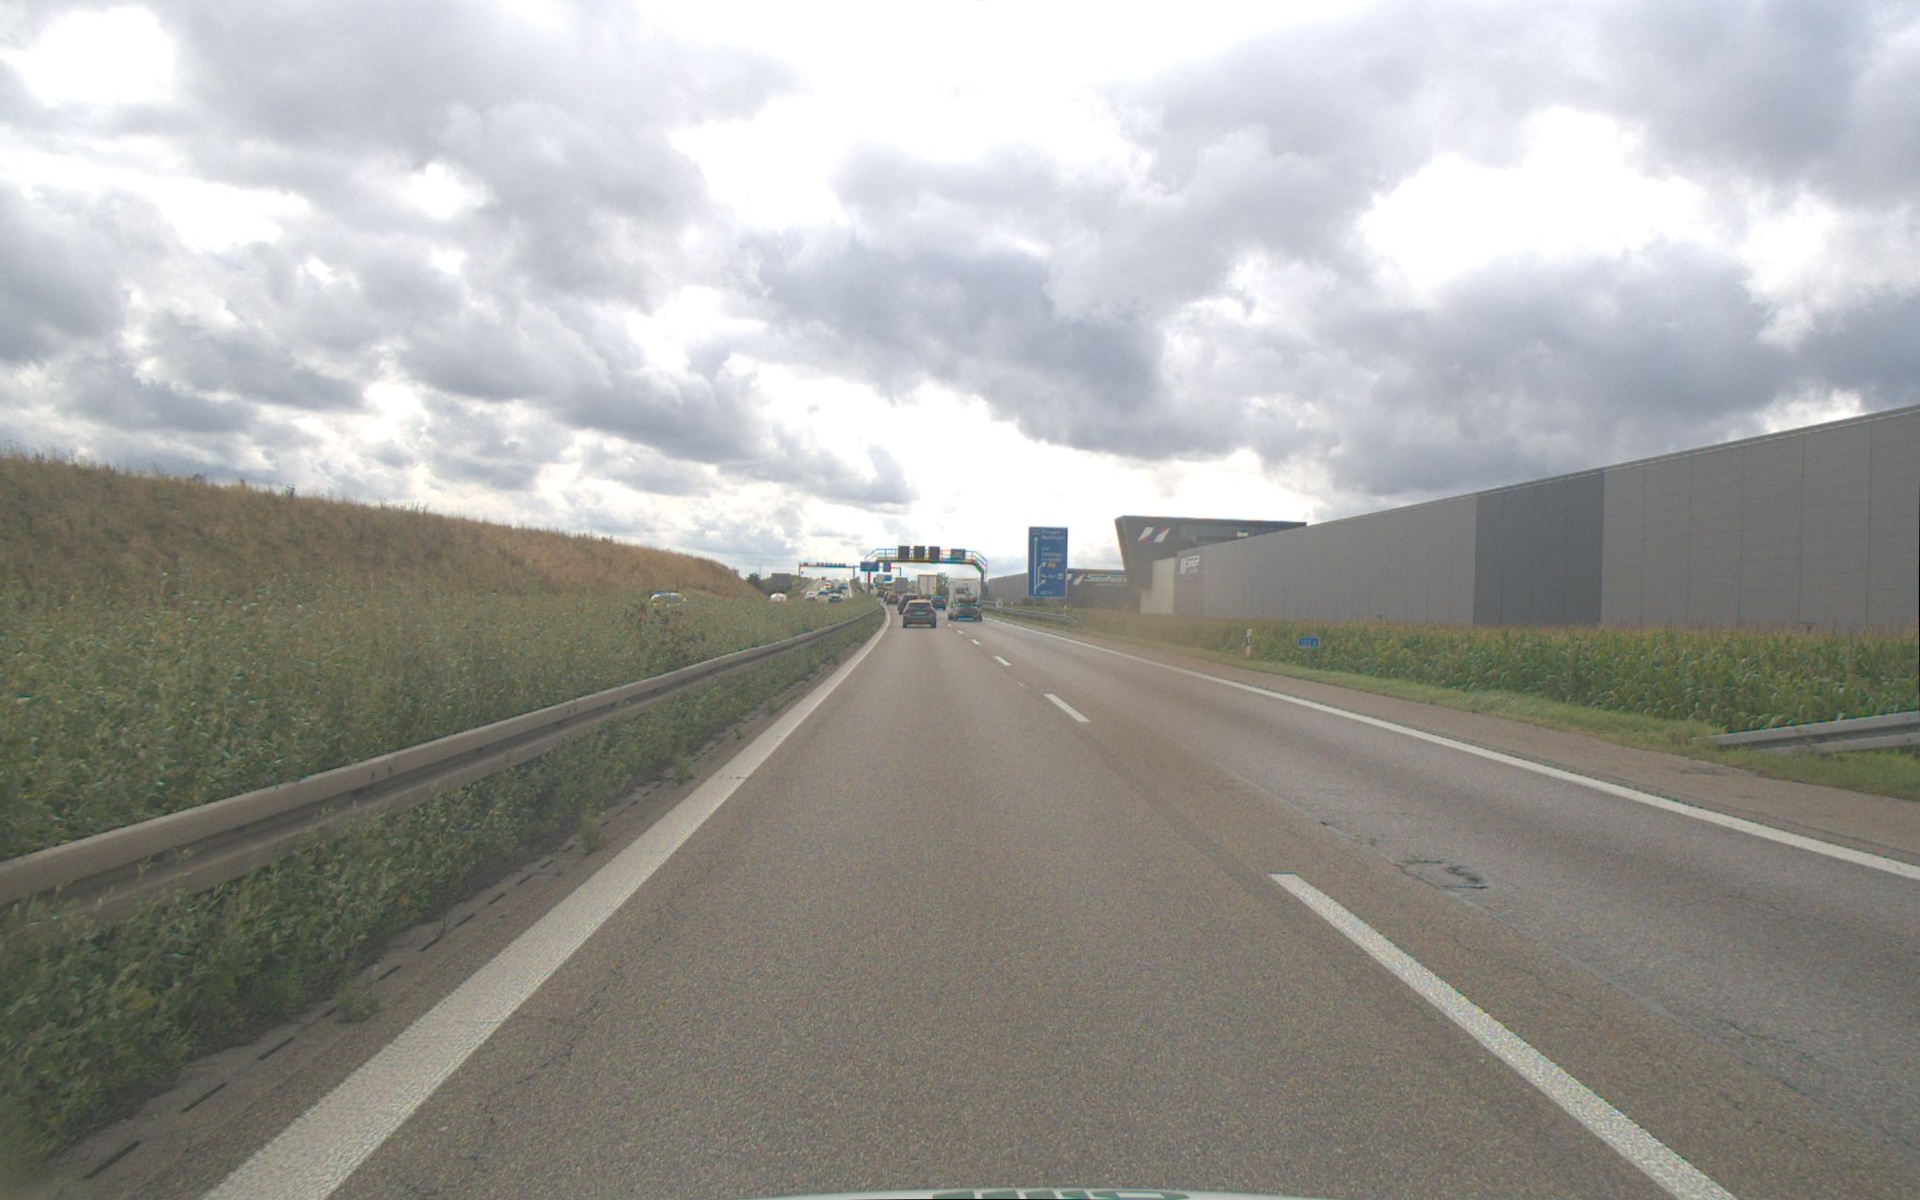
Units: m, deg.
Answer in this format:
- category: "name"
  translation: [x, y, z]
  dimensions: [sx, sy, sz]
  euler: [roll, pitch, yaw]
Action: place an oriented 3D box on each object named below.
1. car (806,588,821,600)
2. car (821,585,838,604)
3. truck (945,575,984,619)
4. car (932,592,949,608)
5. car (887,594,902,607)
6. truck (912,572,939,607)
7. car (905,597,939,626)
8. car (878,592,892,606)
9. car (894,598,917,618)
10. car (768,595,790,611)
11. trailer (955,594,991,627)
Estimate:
- category: "car"
  translation: [-19.660, -0.804, 222.236]
  dimensions: [1.736, 1.479, 3.999]
  euler: [1, 0, -2]
- category: "car"
  translation: [-16.857, -0.721, 213.216]
  dimensions: [1.954, 2.389, 5.867]
  euler: [1, 0, -3]
- category: "truck"
  translation: [0.279, -0.215, 118.060]
  dimensions: [2.433, 3.002, 5.810]
  euler: [1, 0, -3]
- category: "car"
  translation: [-2.130, -0.029, 180.426]
  dimensions: [1.765, 1.714, 3.998]
  euler: [1, 0, -2]
- category: "car"
  translation: [-8.804, 0.072, 221.015]
  dimensions: [1.904, 1.806, 3.695]
  euler: [1, 0, -2]
- category: "truck"
  translation: [-4.767, -1.382, 225.877]
  dimensions: [3.273, 4.613, 8.011]
  euler: [1, 0, -3]
- category: "car"
  translation: [-2.020, 0.623, 88.091]
  dimensions: [1.711, 1.478, 3.999]
  euler: [1, 0, -1]
- category: "car"
  translation: [-11.278, -0.092, 250.342]
  dimensions: [1.953, 2.049, 3.999]
  euler: [1, 0, -1]
- category: "car"
  translation: [-4.641, 0.689, 141.982]
  dimensions: [1.906, 1.714, 3.999]
  euler: [1, 0, -1]
- category: "car"
  translation: [-16.589, 0.307, 151.703]
  dimensions: [1.689, 1.428, 4.340]
  euler: [1, 0, -2]
- category: "trailer"
  translation: [0.867, 0.704, 110.989]
  dimensions: [2.291, 2.174, 3.999]
  euler: [1, 0, -1]
